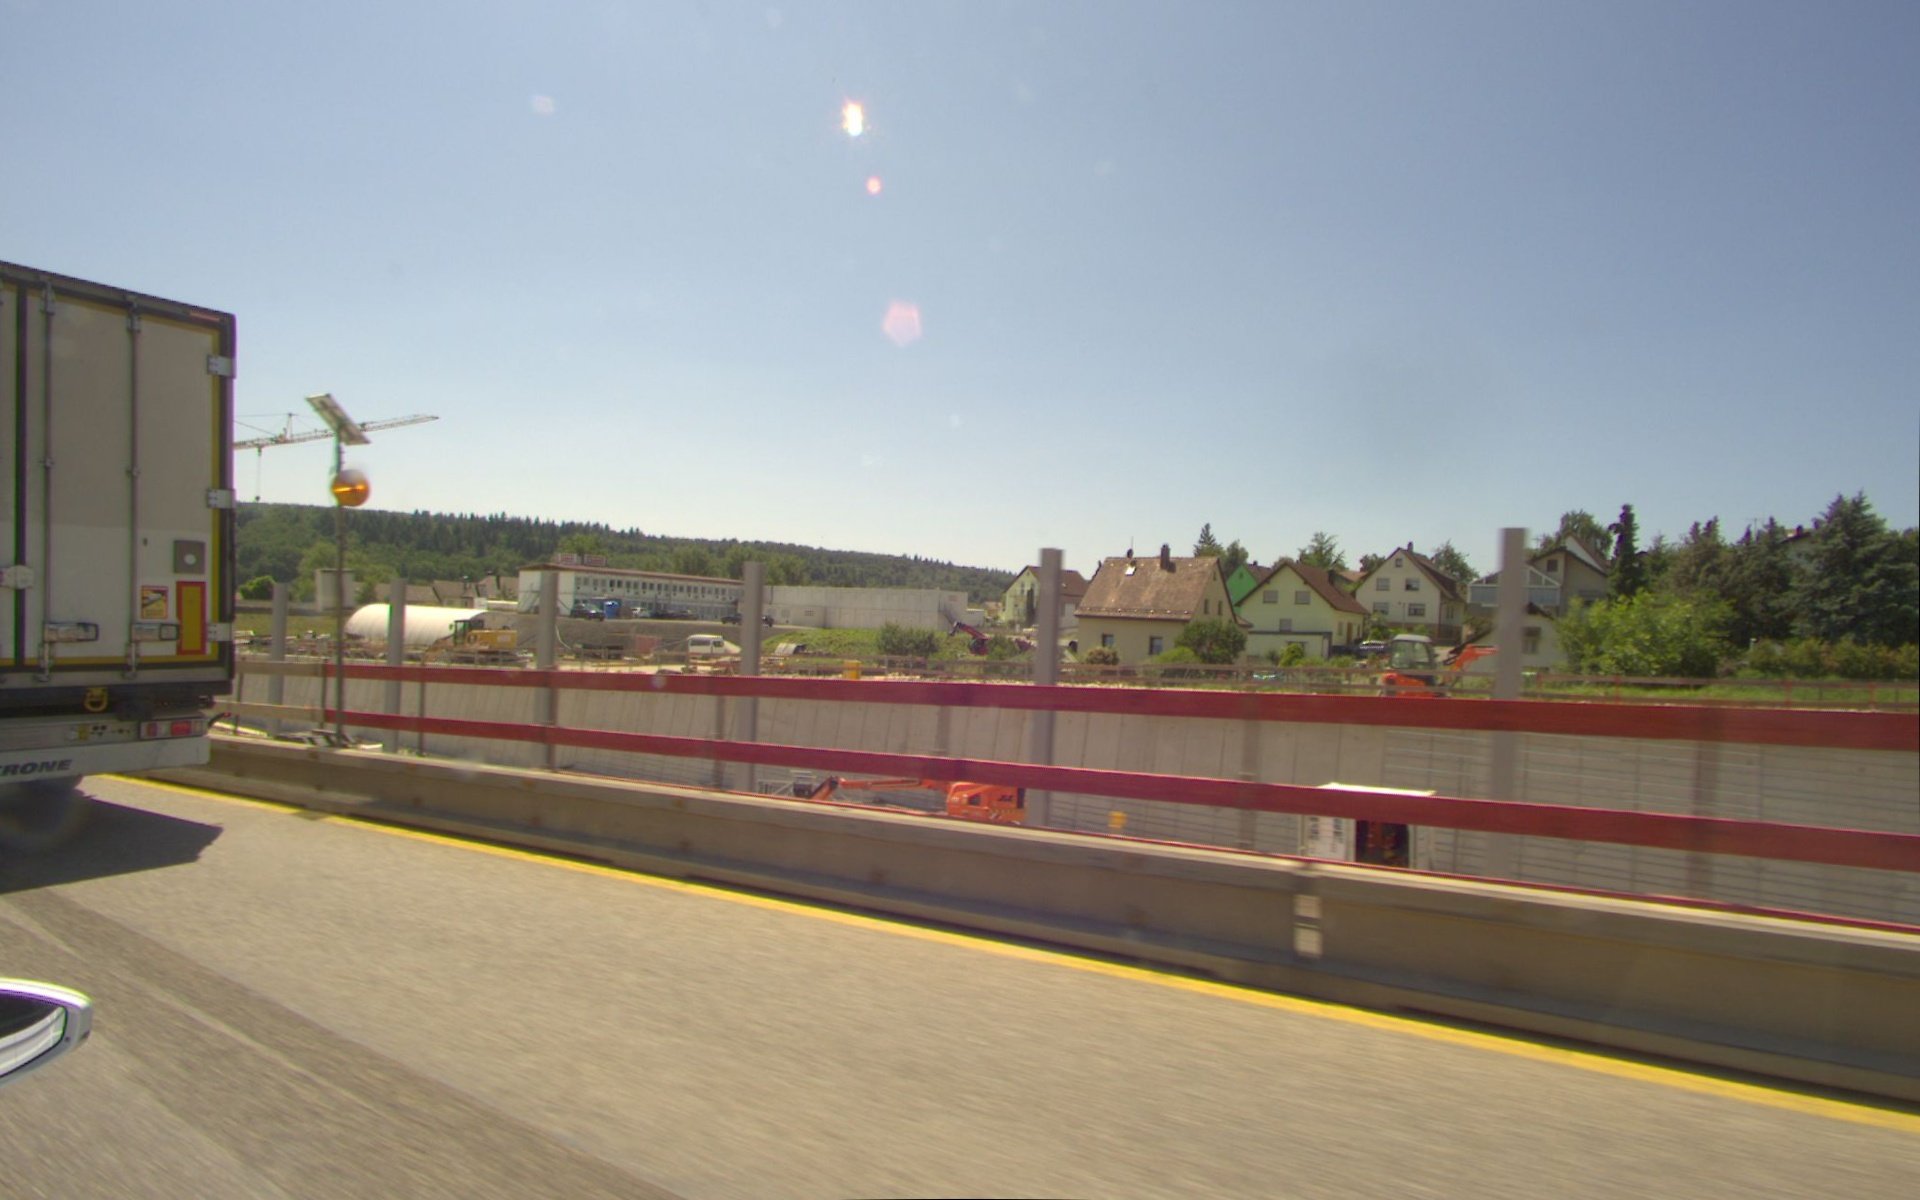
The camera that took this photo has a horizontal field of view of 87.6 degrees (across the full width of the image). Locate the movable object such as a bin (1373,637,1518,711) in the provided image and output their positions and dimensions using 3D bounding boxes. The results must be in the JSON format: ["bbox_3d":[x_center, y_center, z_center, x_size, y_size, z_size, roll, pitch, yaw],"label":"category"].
[{"bbox_3d":[16.007,2.386,33.054,4.094,2.267,1.990,-1,-2,33],"label":"movable object such as a bin"}]

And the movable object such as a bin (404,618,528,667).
[{"bbox_3d":[-32.113,2.700,64.926,9.346,2.946,2.882,-1,-2,33],"label":"movable object such as a bin"}]

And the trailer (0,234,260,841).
[{"bbox_3d":[-12.263,-0.298,10.683,13.917,4.110,2.796,-1,-2,33],"label":"trailer"}]
